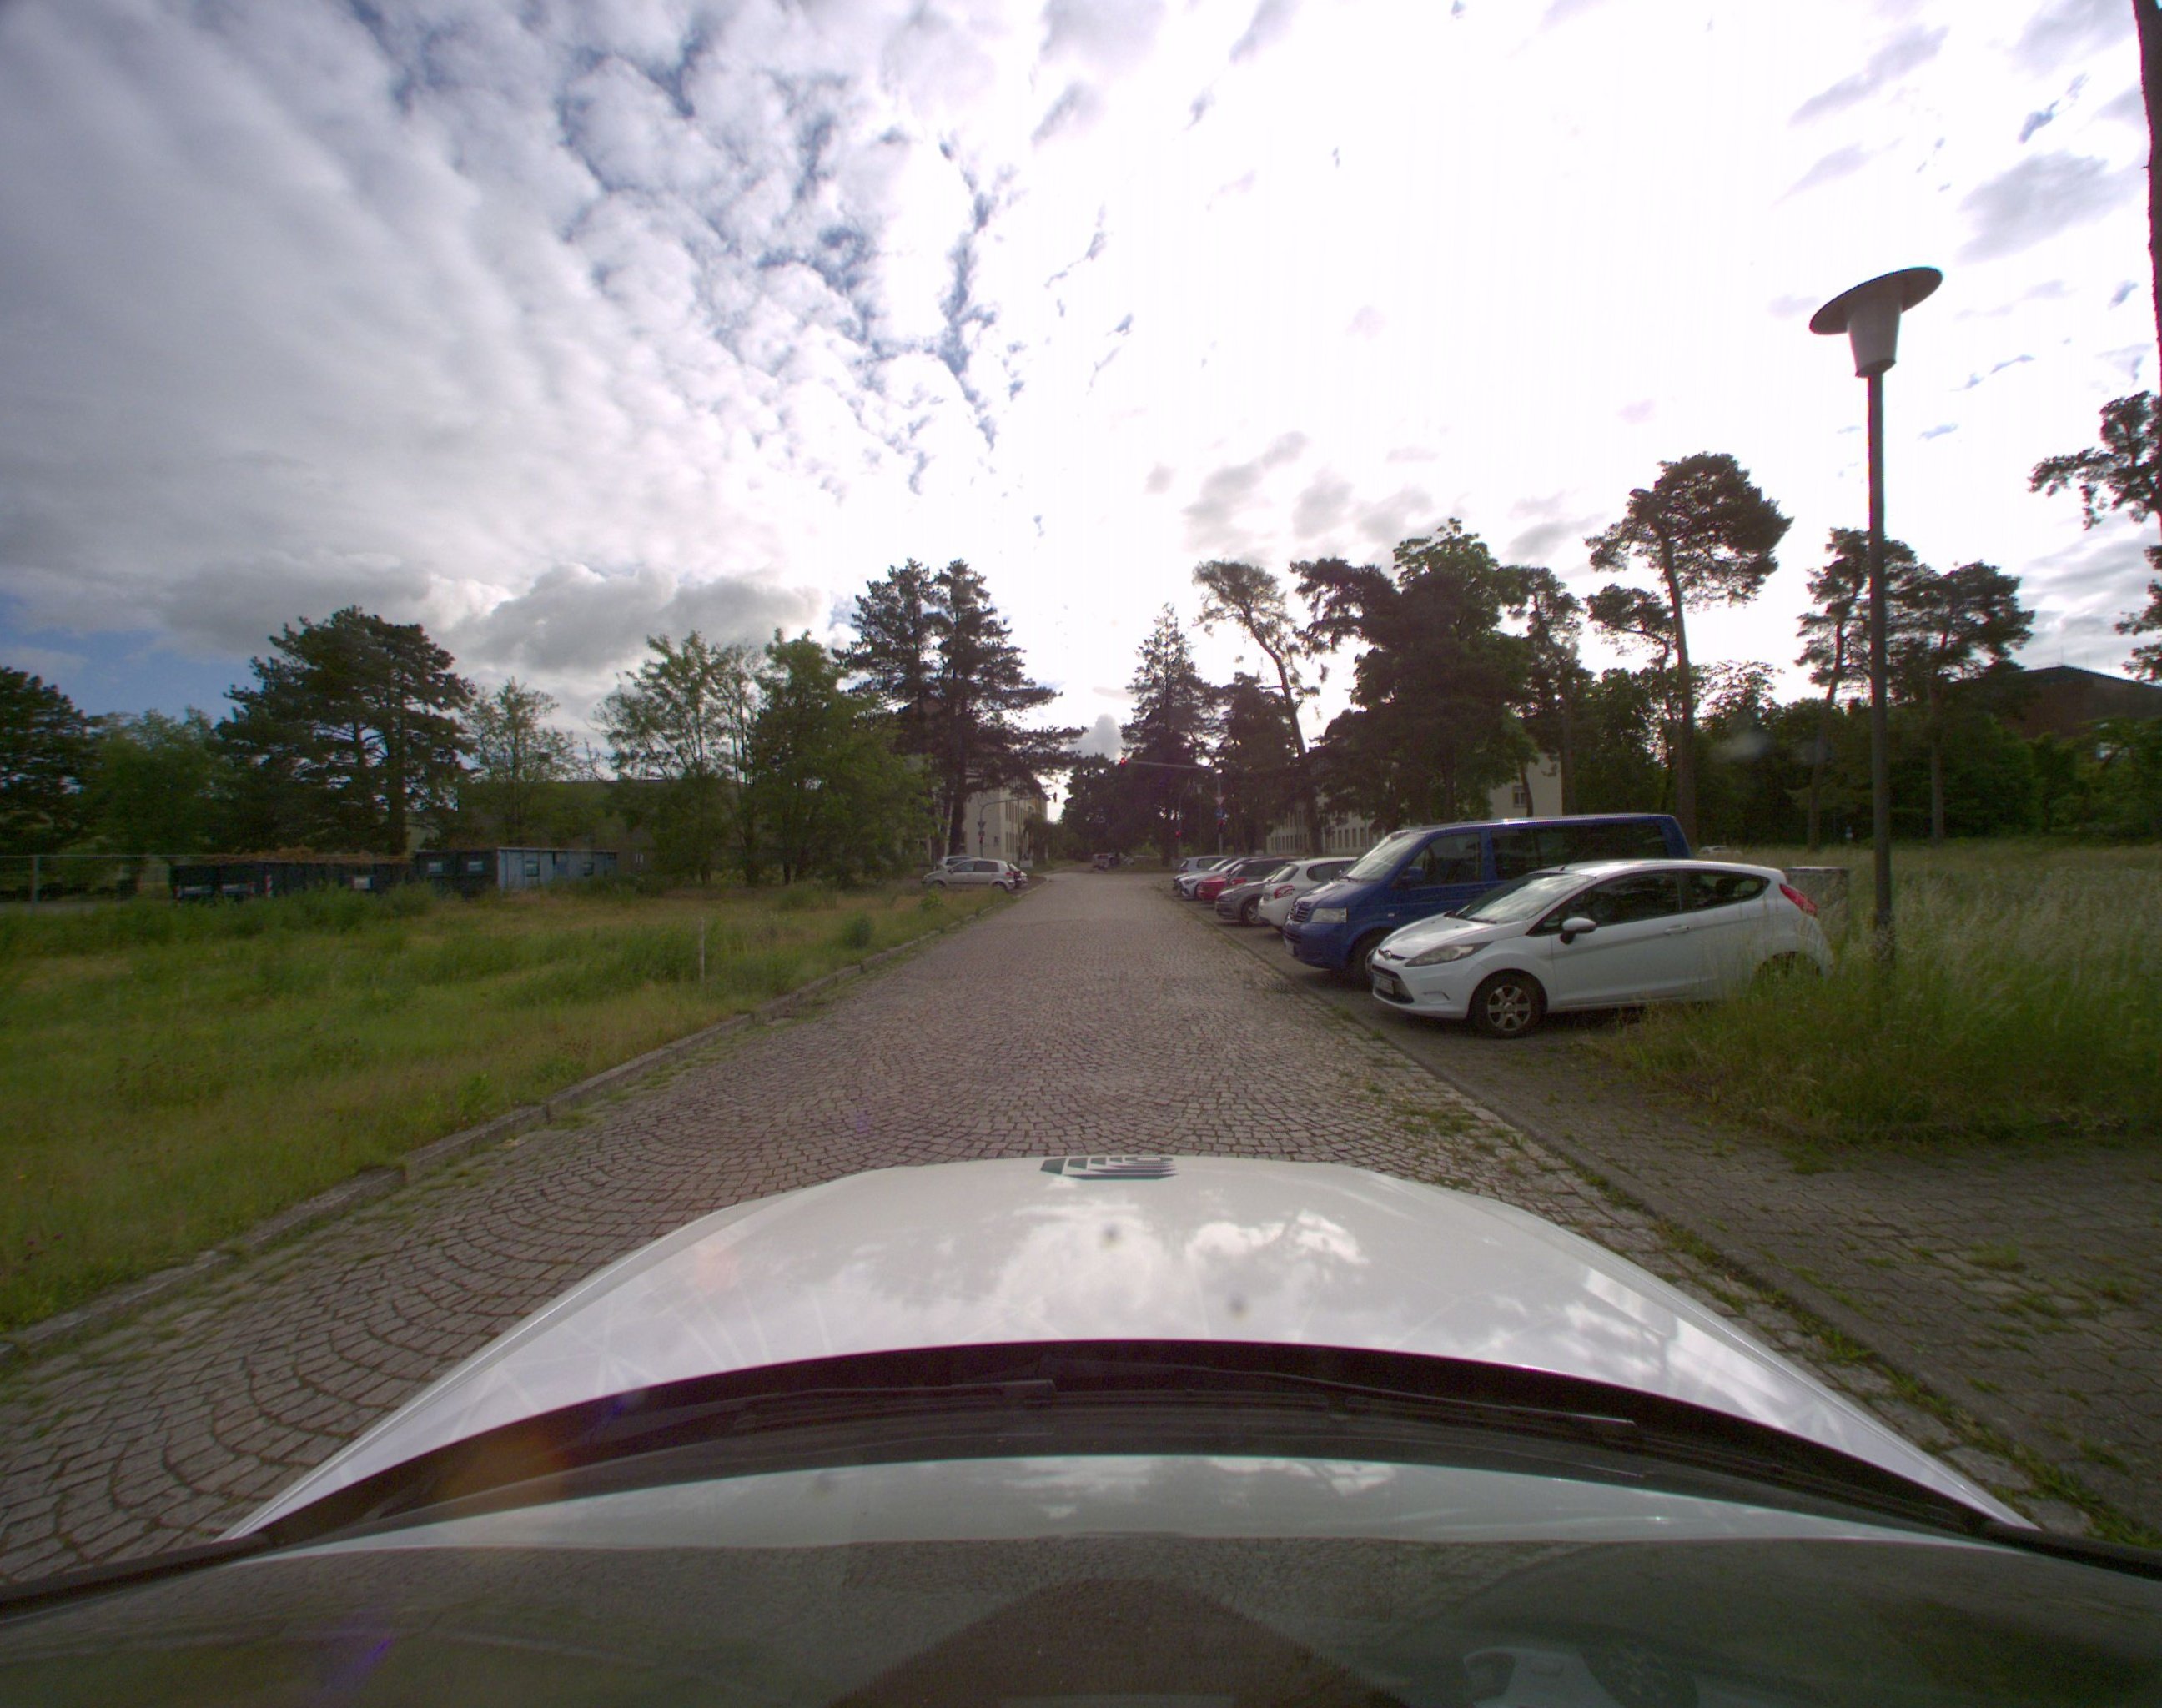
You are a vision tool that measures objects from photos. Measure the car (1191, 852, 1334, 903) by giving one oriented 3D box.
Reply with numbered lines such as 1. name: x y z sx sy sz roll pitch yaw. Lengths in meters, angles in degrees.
1. car: 5.834 0.739 26.575 4.247 1.416 1.871 -3 0 1

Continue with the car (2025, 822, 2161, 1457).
1. car: 4.810 0.632 1.394 4.246 1.598 1.822 -2 0 0

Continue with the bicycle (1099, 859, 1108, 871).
1. bicycle: 2.189 1.099 79.718 0.602 1.132 1.958 -1 0 -4

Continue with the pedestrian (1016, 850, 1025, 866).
1. pedestrian: -7.304 0.468 98.838 0.778 1.837 0.734 -1 -1 -30

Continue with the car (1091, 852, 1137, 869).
1. car: 4.033 0.782 100.979 5.357 1.925 2.019 -2 0 -8

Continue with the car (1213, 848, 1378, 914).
1. car: 5.559 0.692 21.466 3.850 1.472 1.758 -3 0 0

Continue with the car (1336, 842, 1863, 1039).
1. car: 4.686 0.732 7.826 3.850 1.472 1.841 -3 0 0

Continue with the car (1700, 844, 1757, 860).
1. car: 59.949 -0.183 75.448 3.930 1.421 1.652 2 0 4

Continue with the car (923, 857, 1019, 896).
1. car: -4.453 0.916 33.362 3.692 1.479 1.581 2 0 -2

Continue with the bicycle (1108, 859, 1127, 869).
1. bicycle: 3.776 1.038 85.006 1.966 1.069 0.582 -1 0 -29

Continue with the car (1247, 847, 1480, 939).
1. car: 5.347 0.713 15.761 3.850 1.472 1.758 -3 0 0

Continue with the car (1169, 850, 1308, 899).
1. car: 5.529 0.702 28.850 4.419 1.416 1.866 -3 0 -8

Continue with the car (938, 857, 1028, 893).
1. car: -4.276 0.919 35.838 3.736 1.428 1.581 2 0 -2

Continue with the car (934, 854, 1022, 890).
1. car: -4.866 0.853 38.750 3.937 1.563 1.649 2 0 -2

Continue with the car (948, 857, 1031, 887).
1. car: -4.592 0.898 41.288 3.934 1.421 1.650 2 0 0

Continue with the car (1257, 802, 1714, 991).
1. car: 4.891 0.493 10.417 4.792 1.945 2.003 -3 0 0

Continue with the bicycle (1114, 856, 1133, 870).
1. bicycle: 4.401 0.920 84.343 1.952 1.384 0.587 -1 0 -6

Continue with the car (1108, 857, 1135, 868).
1. car: 4.824 1.029 97.598 3.000 1.268 1.533 -1 0 -5

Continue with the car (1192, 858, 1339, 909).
1. car: 5.323 0.835 23.838 3.850 1.236 1.758 -3 0 0

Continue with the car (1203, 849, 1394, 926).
1. car: 4.876 0.730 18.634 3.850 1.472 1.758 -3 0 0

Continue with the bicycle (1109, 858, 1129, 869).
1. bicycle: 3.883 0.981 82.887 1.952 1.132 0.587 -1 0 -6

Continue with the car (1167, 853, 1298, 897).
1. car: 5.783 0.772 31.531 4.667 1.416 1.870 -3 0 -1

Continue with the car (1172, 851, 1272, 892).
1. car: 5.820 0.709 33.986 3.911 1.477 1.644 -3 0 3

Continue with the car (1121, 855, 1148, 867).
1. car: 6.872 0.859 104.810 3.223 1.416 1.724 -1 0 -2

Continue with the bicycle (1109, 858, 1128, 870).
1. bicycle: 3.839 1.007 83.521 1.952 1.117 0.587 -1 0 -6
